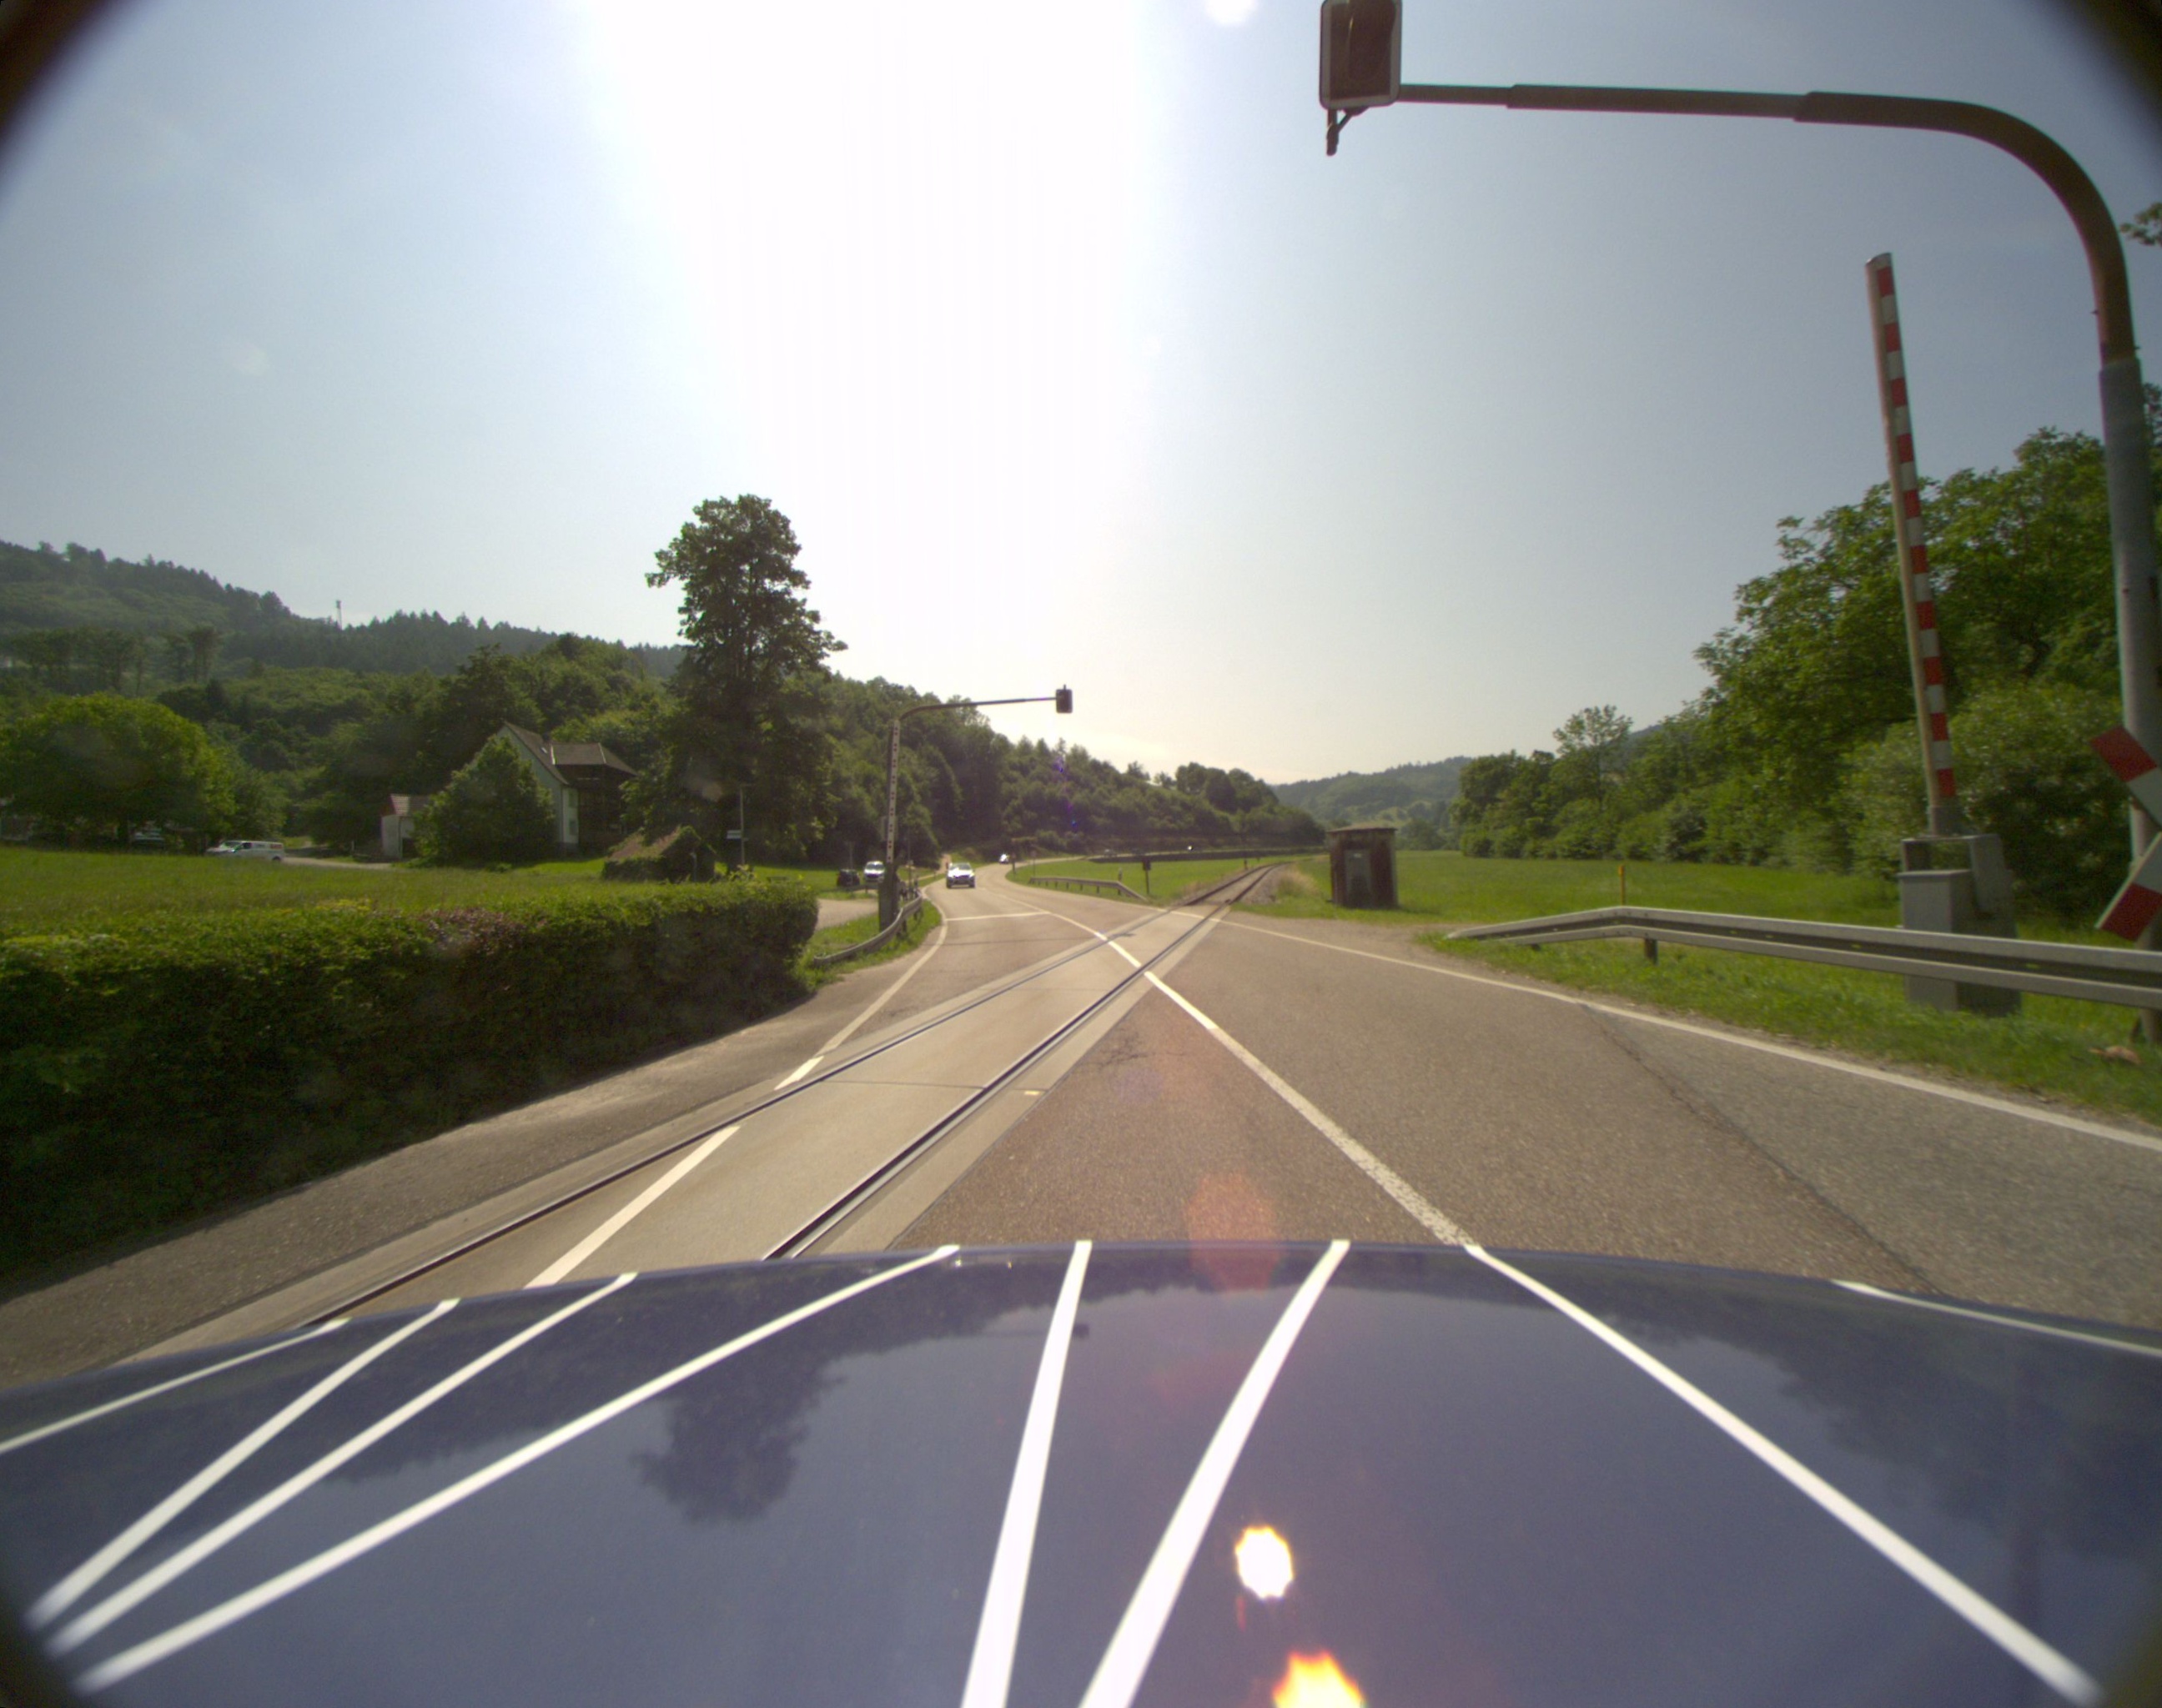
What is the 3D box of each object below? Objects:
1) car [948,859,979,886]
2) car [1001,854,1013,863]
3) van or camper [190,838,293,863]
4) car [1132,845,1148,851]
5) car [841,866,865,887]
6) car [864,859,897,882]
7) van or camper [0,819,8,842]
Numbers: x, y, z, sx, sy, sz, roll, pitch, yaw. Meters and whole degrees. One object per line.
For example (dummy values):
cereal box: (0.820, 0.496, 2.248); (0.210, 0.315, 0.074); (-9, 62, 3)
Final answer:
car: (-8.497, 1.294, 54.728); (2.119, 1.803, 4.451); (-1, 0, -10)
car: (-14.764, 0.807, 151.956); (1.998, 1.774, 4.000); (-1, 0, 0)
van or camper: (-69.457, -0.248, 63.027); (2.817, 1.938, 5.433); (0, 0, -6)
car: (16.067, -1.570, 205.852); (1.866, 1.614, 4.520); (2, 2, 44)
car: (-18.004, 1.748, 59.918); (1.680, 1.448, 3.708); (1, 1, -20)
car: (-18.043, 1.449, 68.596); (2.005, 1.837, 4.866); (4, 0, -6)
van or camper: (-78.636, -1.720, 52.745); (2.034, 1.632, 5.040); (-1, 0, -16)
